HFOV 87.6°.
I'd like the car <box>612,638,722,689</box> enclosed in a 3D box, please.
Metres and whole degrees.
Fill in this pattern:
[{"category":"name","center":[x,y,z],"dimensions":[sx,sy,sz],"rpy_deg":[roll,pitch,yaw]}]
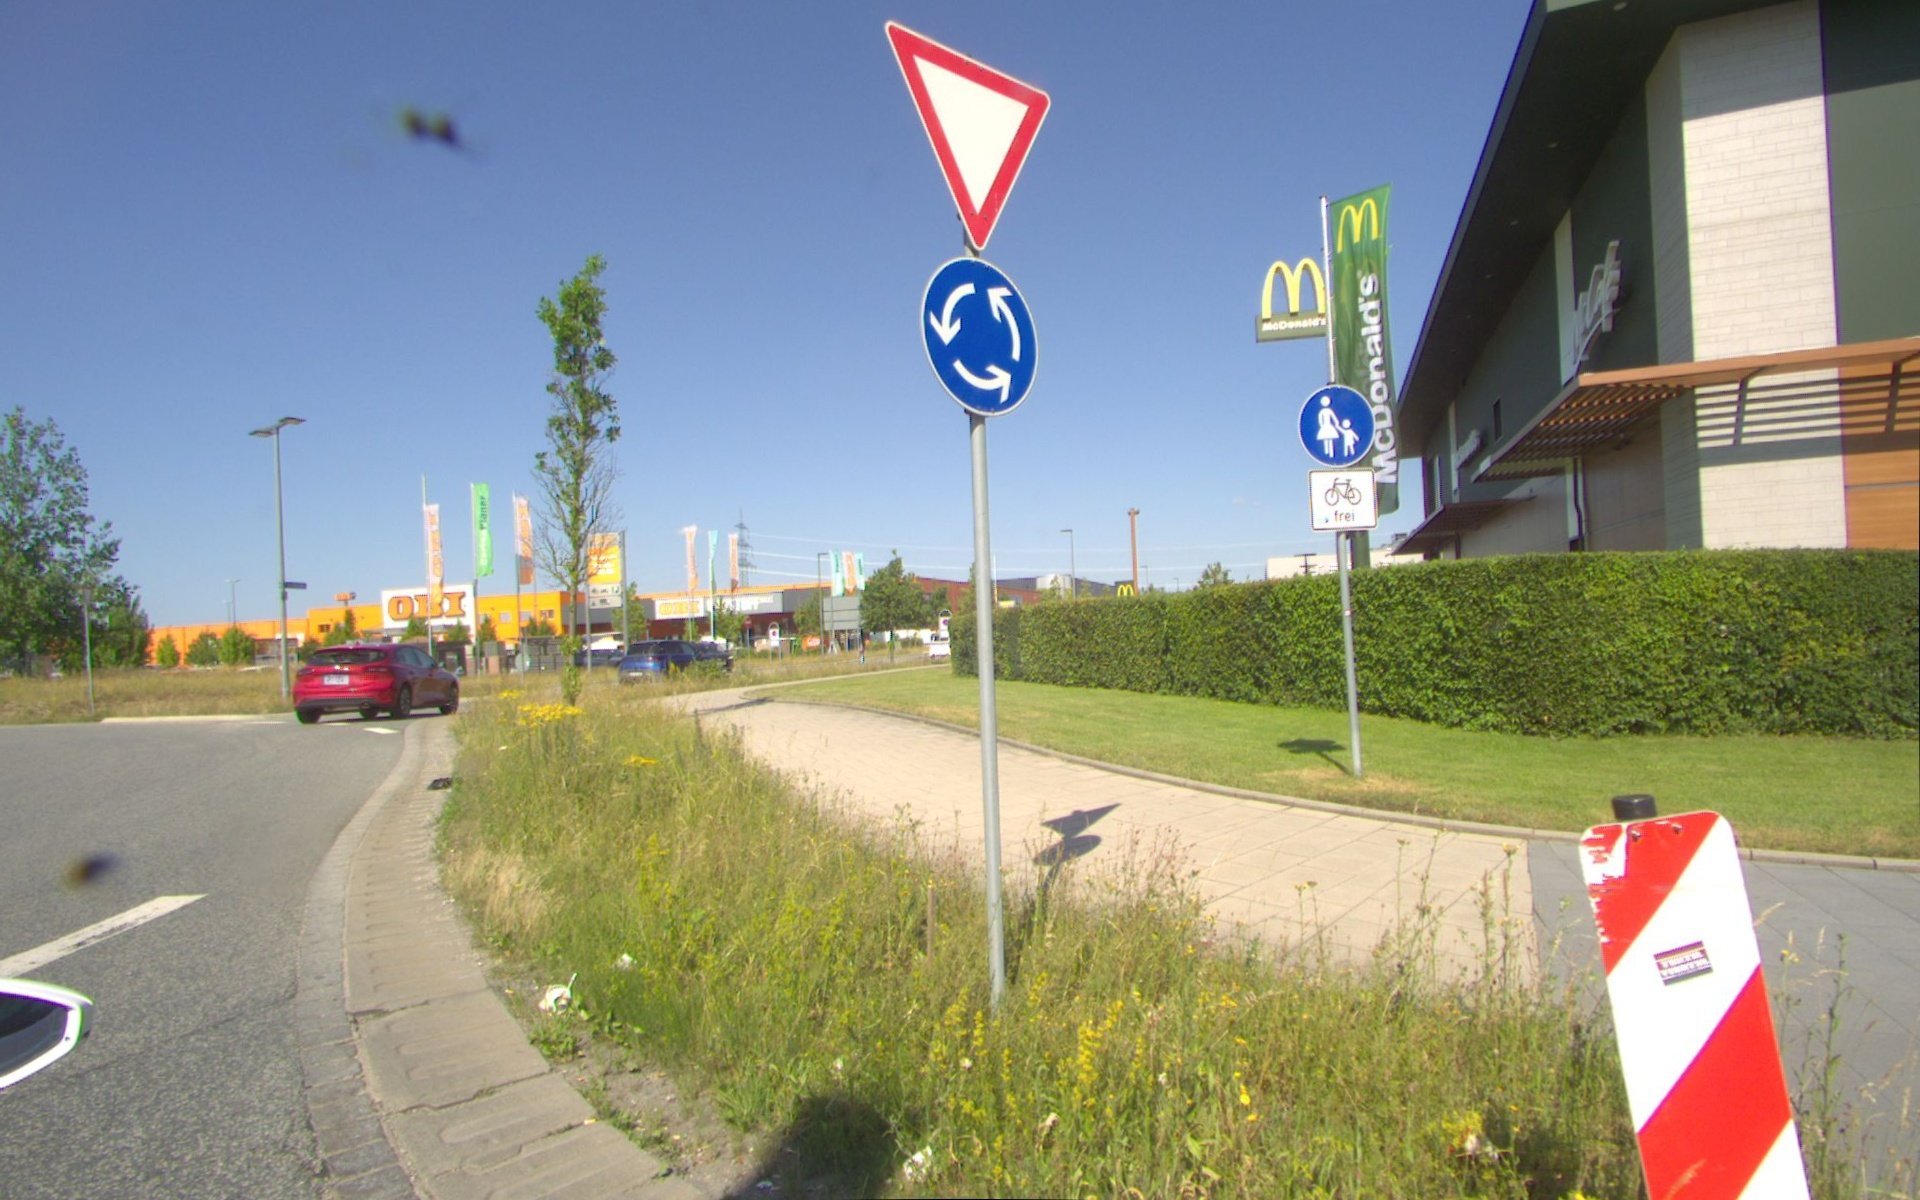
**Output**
[{"category":"car","center":[-10.273,2.201,35.424],"dimensions":[1.823,1.656,4.077],"rpy_deg":[-2,-2,16]}]

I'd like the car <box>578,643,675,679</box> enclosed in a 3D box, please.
[{"category":"car","center":[-18.432,3.353,55.410],"dimensions":[4.609,1.647,2.078],"rpy_deg":[-4,-2,10]}]

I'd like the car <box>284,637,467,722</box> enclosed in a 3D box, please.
[{"category":"car","center":[-11.326,1.476,19.747],"dimensions":[1.774,1.434,4.116],"rpy_deg":[-1,-2,-10]}]

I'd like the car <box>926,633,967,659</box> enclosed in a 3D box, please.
[{"category":"car","center":[-0.792,2.818,61.989],"dimensions":[1.487,1.459,3.345],"rpy_deg":[-3,-1,18]}]

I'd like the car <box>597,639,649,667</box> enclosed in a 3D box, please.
[{"category":"car","center":[-23.874,3.766,71.111],"dimensions":[1.670,1.863,3.772],"rpy_deg":[-3,-4,16]}]
